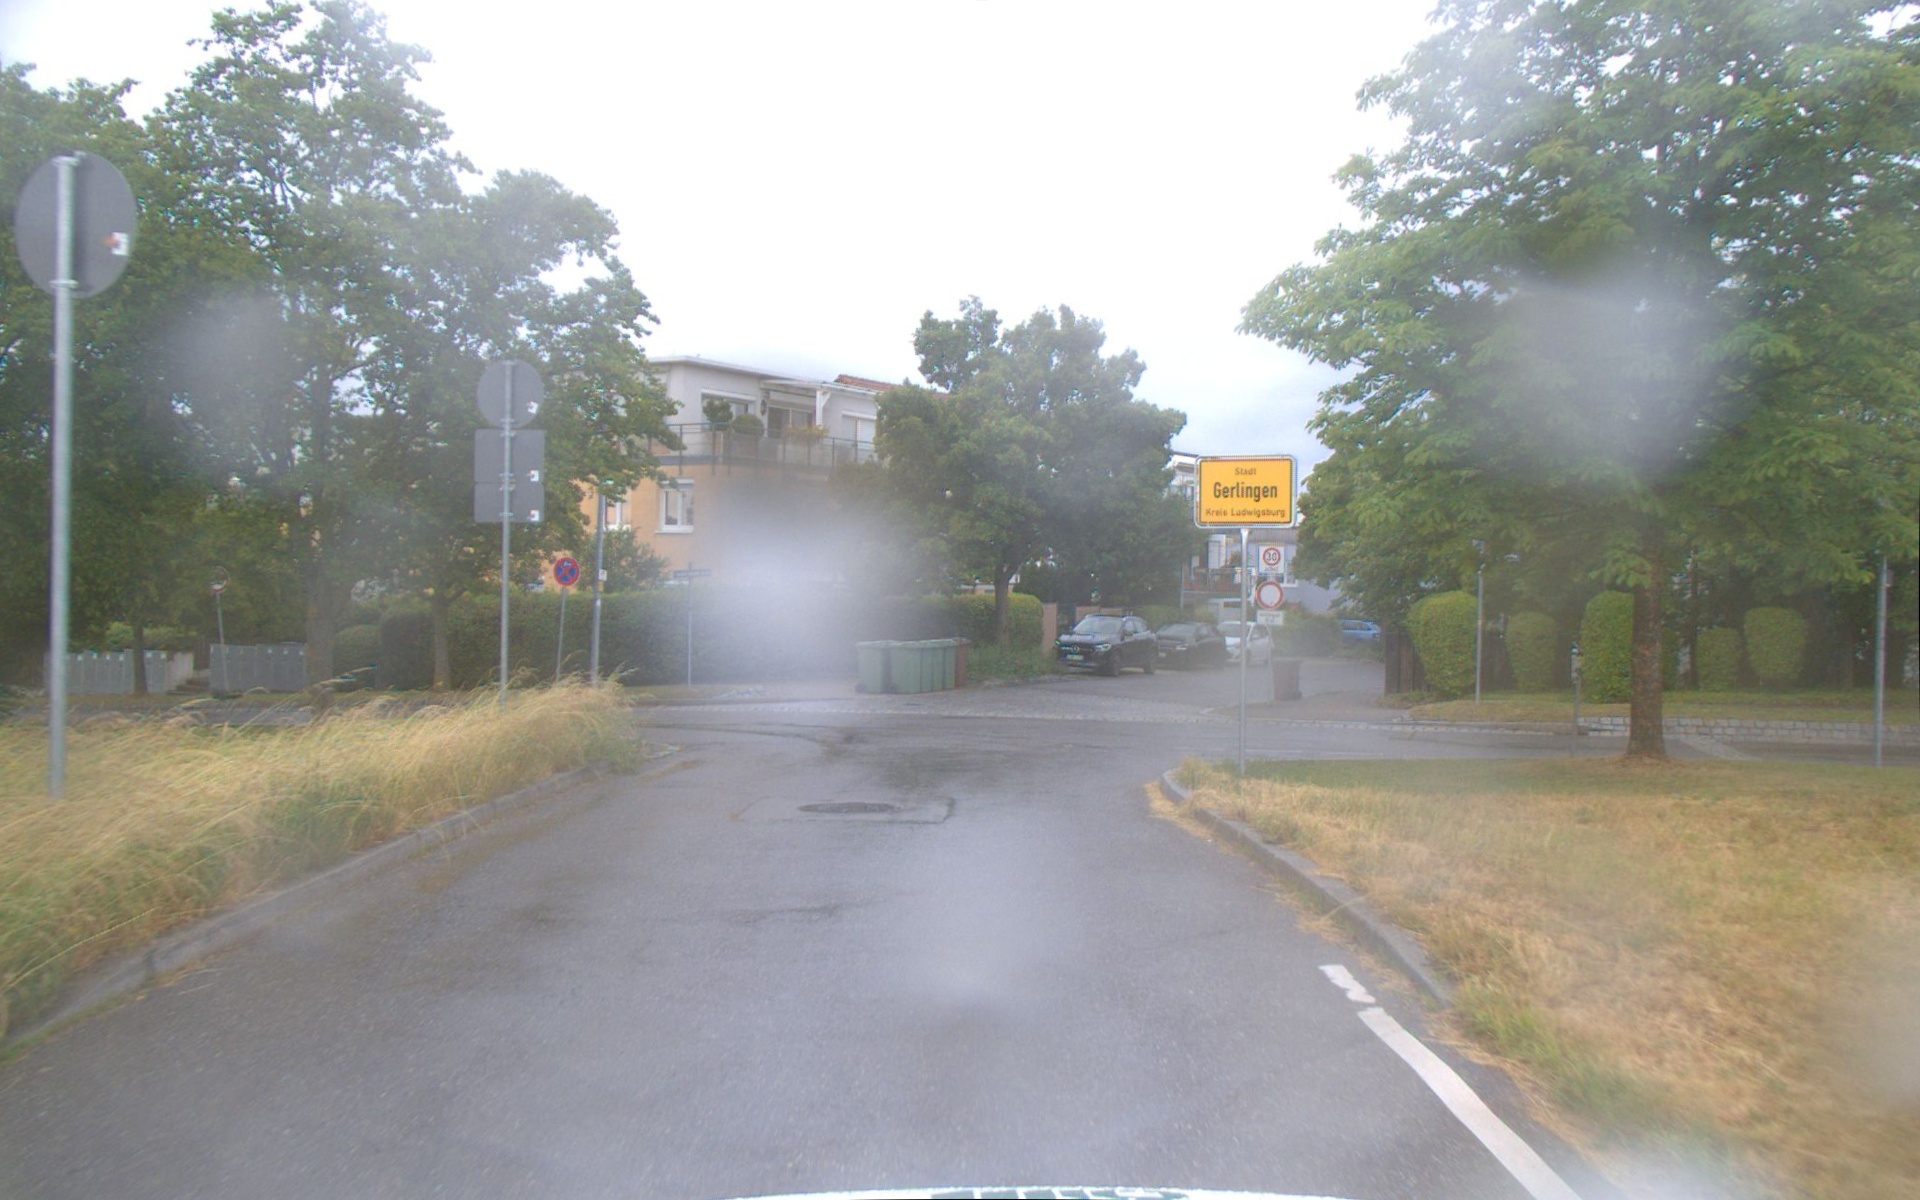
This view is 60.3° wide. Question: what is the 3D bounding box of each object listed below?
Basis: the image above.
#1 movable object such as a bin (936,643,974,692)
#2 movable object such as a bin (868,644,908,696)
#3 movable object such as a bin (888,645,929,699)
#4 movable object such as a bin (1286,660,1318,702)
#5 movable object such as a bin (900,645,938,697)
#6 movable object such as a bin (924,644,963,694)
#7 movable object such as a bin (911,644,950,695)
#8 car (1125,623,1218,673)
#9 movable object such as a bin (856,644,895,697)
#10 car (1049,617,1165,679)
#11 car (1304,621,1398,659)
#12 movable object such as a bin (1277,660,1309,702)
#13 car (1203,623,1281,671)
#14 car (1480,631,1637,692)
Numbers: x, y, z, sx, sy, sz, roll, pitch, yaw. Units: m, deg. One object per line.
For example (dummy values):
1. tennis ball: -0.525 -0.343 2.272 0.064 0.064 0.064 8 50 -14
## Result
1. movable object such as a bin: -0.115 1.517 37.364 0.680 1.073 0.605 0 0 20
2. movable object such as a bin: -1.559 1.502 35.696 0.680 1.091 0.598 0 0 20
3. movable object such as a bin: -1.085 1.516 34.903 0.680 1.093 0.602 0 0 20
4. movable object such as a bin: 8.068 1.898 38.993 0.560 0.947 0.528 1 -1 33
5. movable object such as a bin: -0.878 1.514 35.487 0.680 1.093 0.544 0 0 20
6. movable object such as a bin: -0.360 1.516 36.637 0.680 1.073 0.605 0 0 20
7. movable object such as a bin: -0.644 1.515 36.071 0.680 1.086 0.579 0 0 20
8. car: 6.615 1.476 51.490 1.605 1.433 3.598 3 0 29
9. movable object such as a bin: -1.796 1.501 35.119 0.651 1.092 0.544 0 0 21
10. car: 4.153 1.313 46.175 1.741 1.545 4.132 3 0 27
11. car: 18.004 1.851 76.190 3.908 1.595 1.907 2 -1 25
12. movable object such as a bin: 7.755 1.885 38.518 0.560 0.947 0.528 1 -1 33
13. car: 9.537 1.565 55.795 1.483 1.502 3.266 3 0 30
14. car: 17.263 1.749 47.761 3.919 1.693 1.773 -1 -1 36
